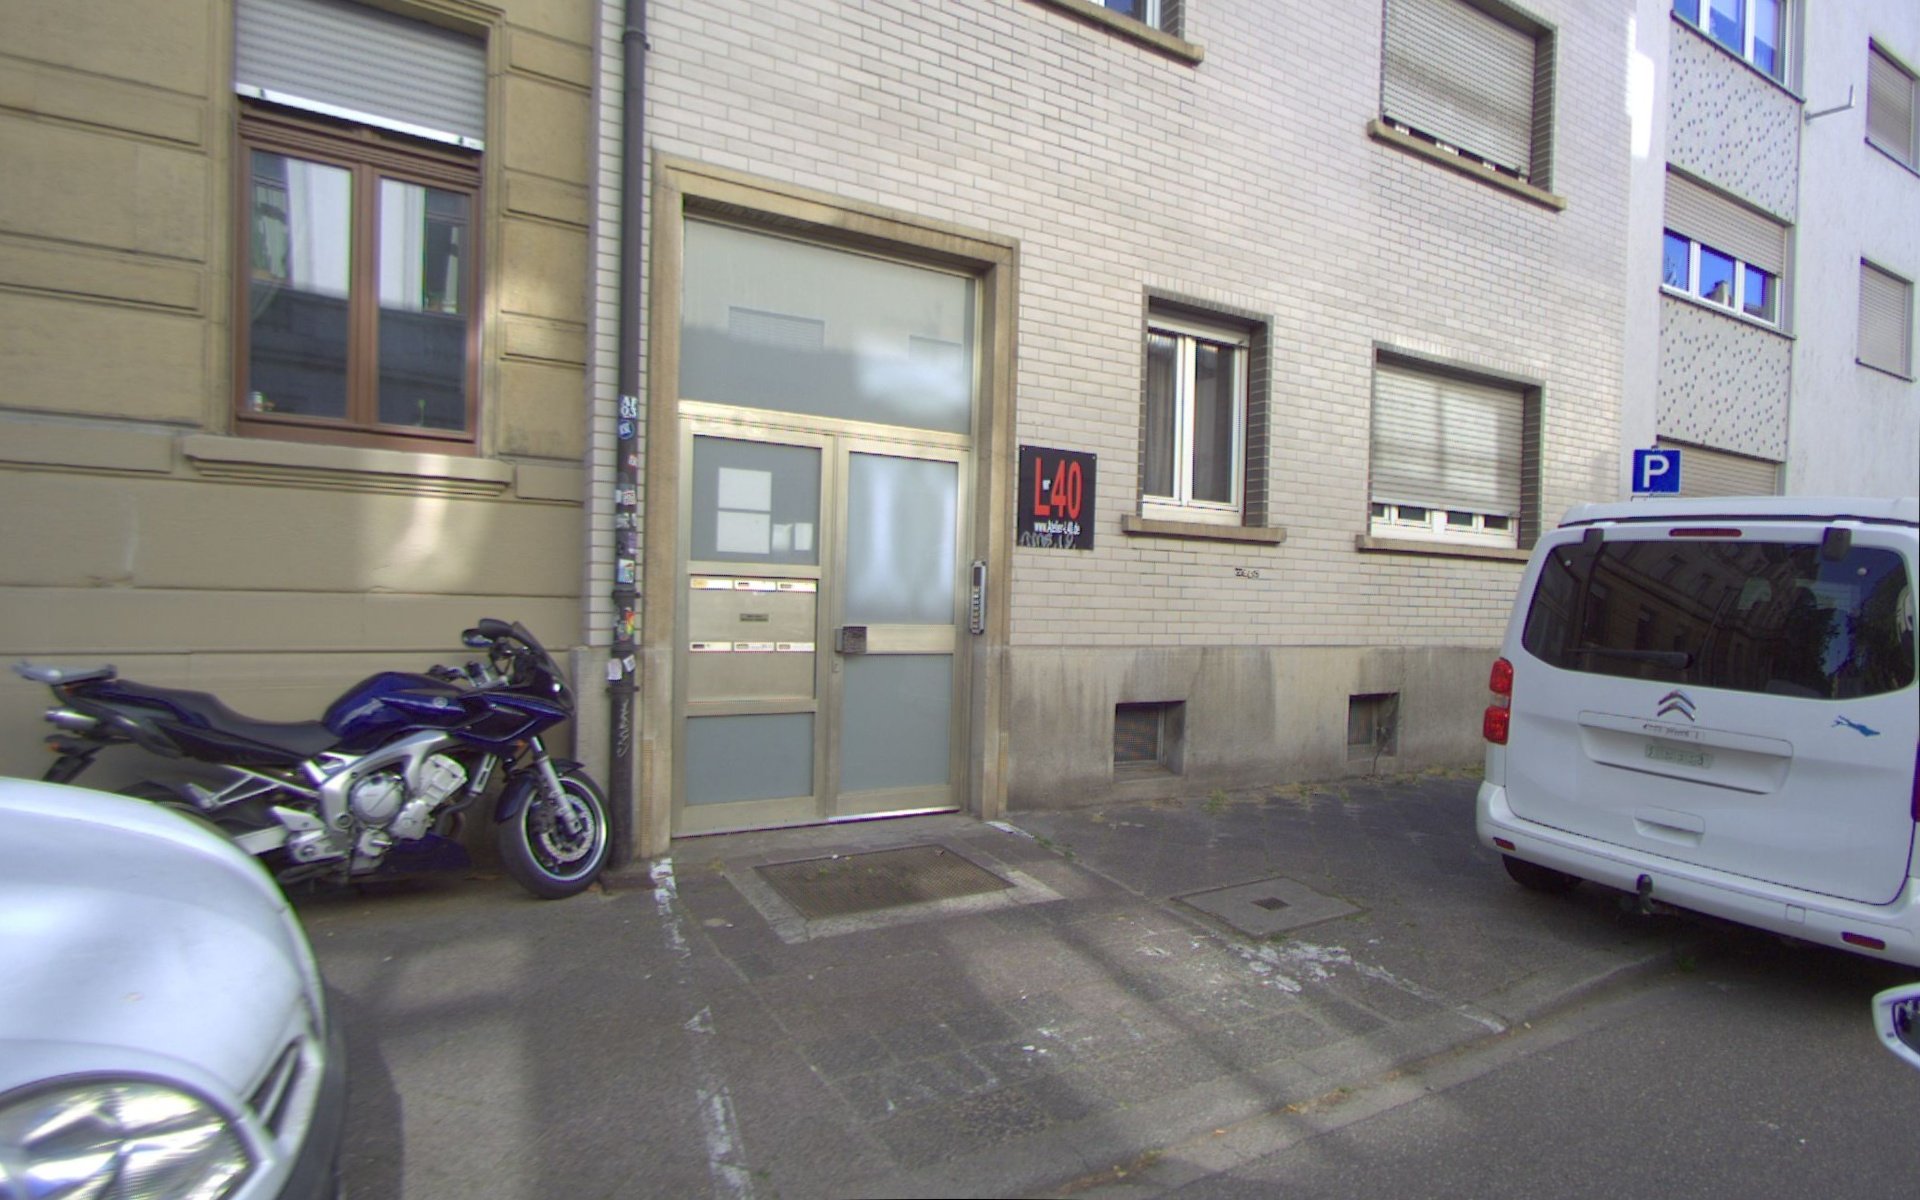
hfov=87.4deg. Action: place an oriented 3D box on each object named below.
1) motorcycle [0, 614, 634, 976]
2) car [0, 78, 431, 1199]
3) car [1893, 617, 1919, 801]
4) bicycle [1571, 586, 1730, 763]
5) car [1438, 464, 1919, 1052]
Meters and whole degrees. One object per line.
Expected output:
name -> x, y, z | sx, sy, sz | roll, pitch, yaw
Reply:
motorcycle -> -2.458, 0.681, 4.083 | 2.097, 1.201, 0.430 | 1, 1, -32
car -> -2.769, 0.394, 0.840 | 4.042, 1.902, 1.735 | 1, 4, -31
car -> 9.882, 0.950, 8.597 | 4.253, 1.469, 1.697 | 2, 1, -32
bicycle -> 6.535, 0.670, 9.476 | 1.782, 1.529, 0.553 | 1, 2, -34
car -> 4.841, 0.528, 5.327 | 4.729, 1.985, 1.883 | 1, 2, -33
